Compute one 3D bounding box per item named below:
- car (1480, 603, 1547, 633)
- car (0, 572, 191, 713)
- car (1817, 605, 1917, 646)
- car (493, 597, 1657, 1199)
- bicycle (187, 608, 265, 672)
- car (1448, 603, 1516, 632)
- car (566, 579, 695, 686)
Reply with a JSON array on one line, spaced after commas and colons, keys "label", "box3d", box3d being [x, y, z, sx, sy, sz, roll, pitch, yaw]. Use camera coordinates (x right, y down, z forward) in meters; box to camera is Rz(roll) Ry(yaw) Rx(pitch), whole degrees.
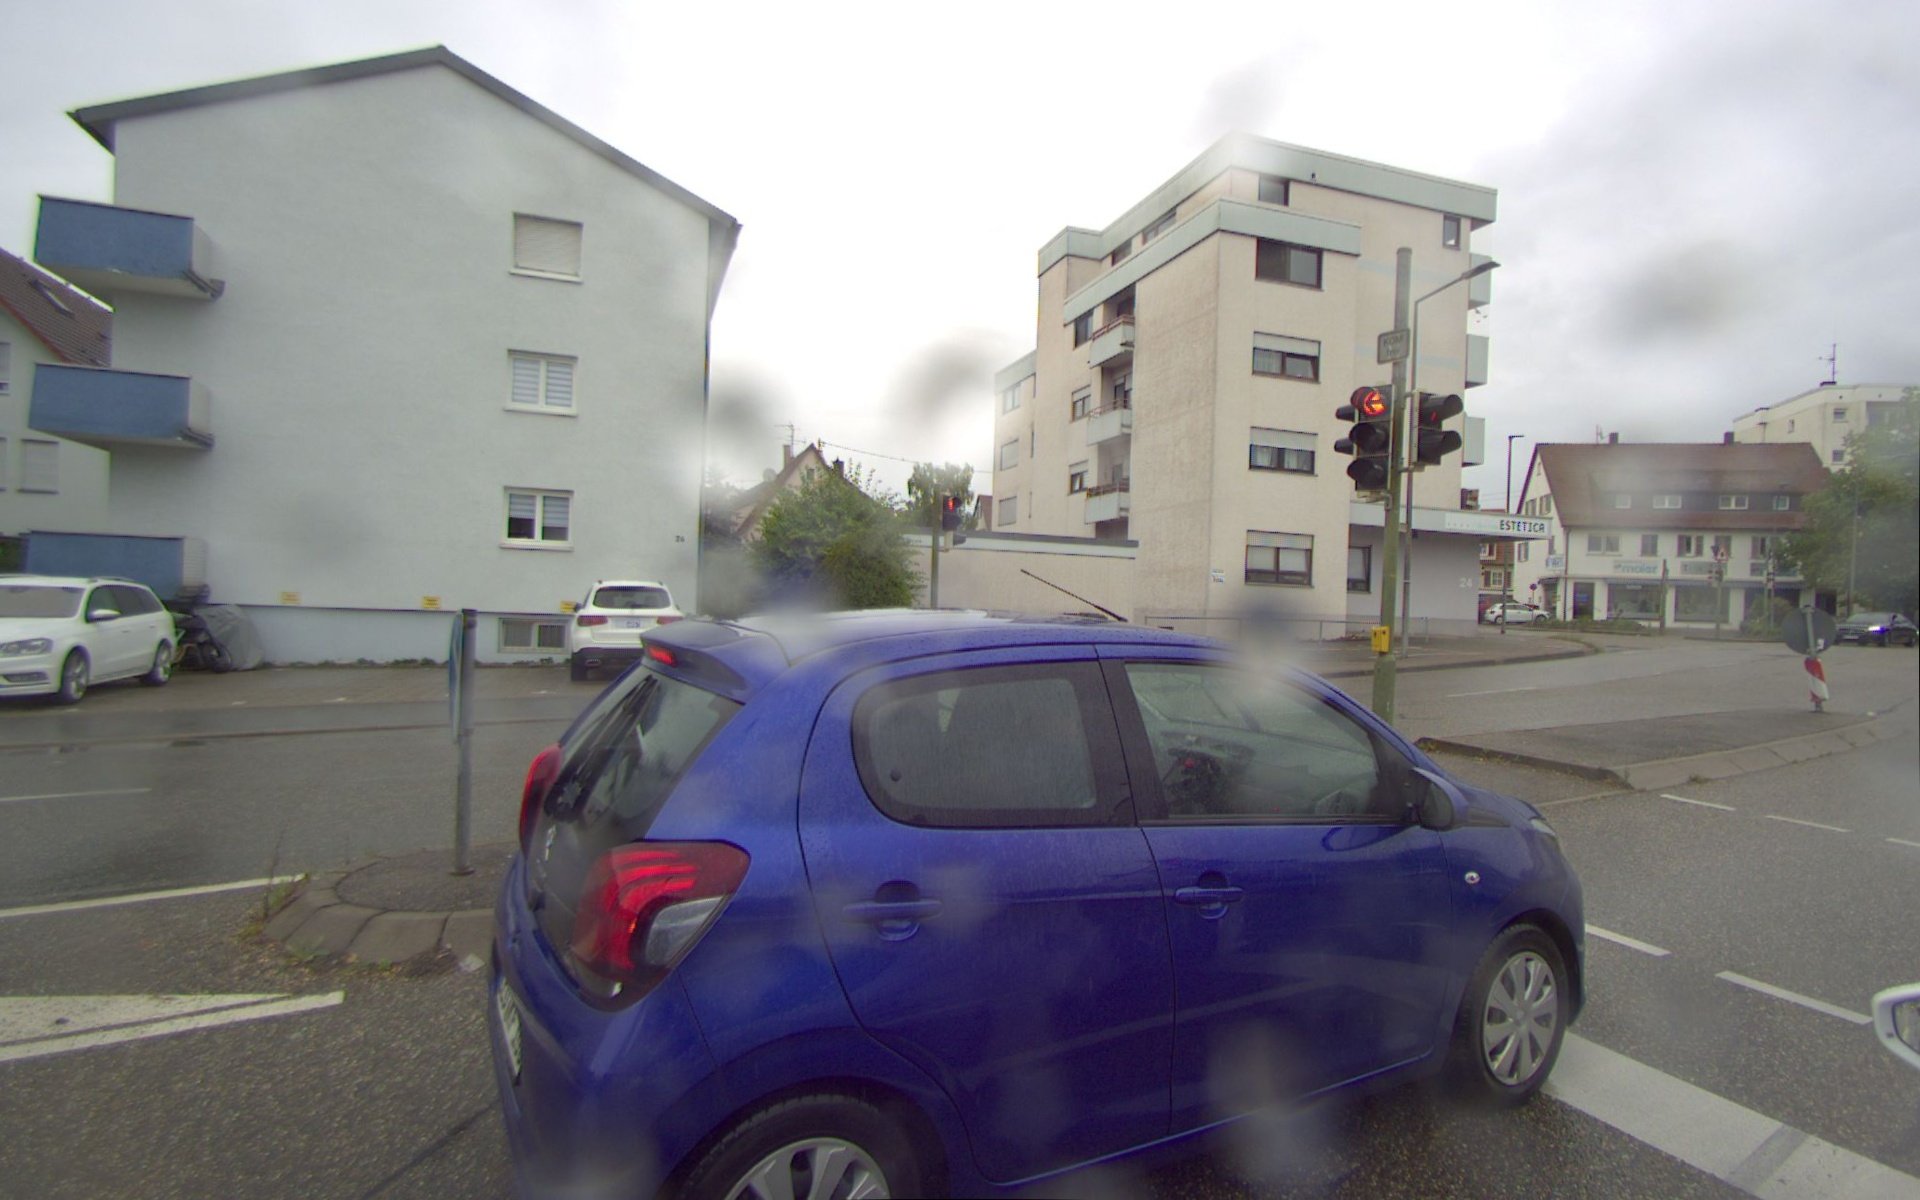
[{"label": "car", "box3d": [37.921, 1.239, 68.879, 3.611, 1.946, 1.889, 2, 0, 14]}, {"label": "car", "box3d": [-11.488, 0.453, 12.495, 1.854, 1.480, 4.732, 1, -1, -23]}, {"label": "car", "box3d": [38.548, 1.092, 42.649, 4.488, 1.646, 1.983, 2, 0, -32]}, {"label": "car", "box3d": [0.461, 0.740, 3.088, 3.324, 1.432, 1.498, 1, 1, -30]}, {"label": "bicycle", "box3d": [-12.700, 0.685, 17.410, 1.053, 1.067, 0.345, 0, 1, -30]}, {"label": "car", "box3d": [37.214, 1.244, 71.709, 3.987, 1.868, 1.889, 2, 0, 14]}, {"label": "car", "box3d": [-5.769, 0.508, 17.564, 1.884, 1.637, 3.983, 2, 0, -19]}]
